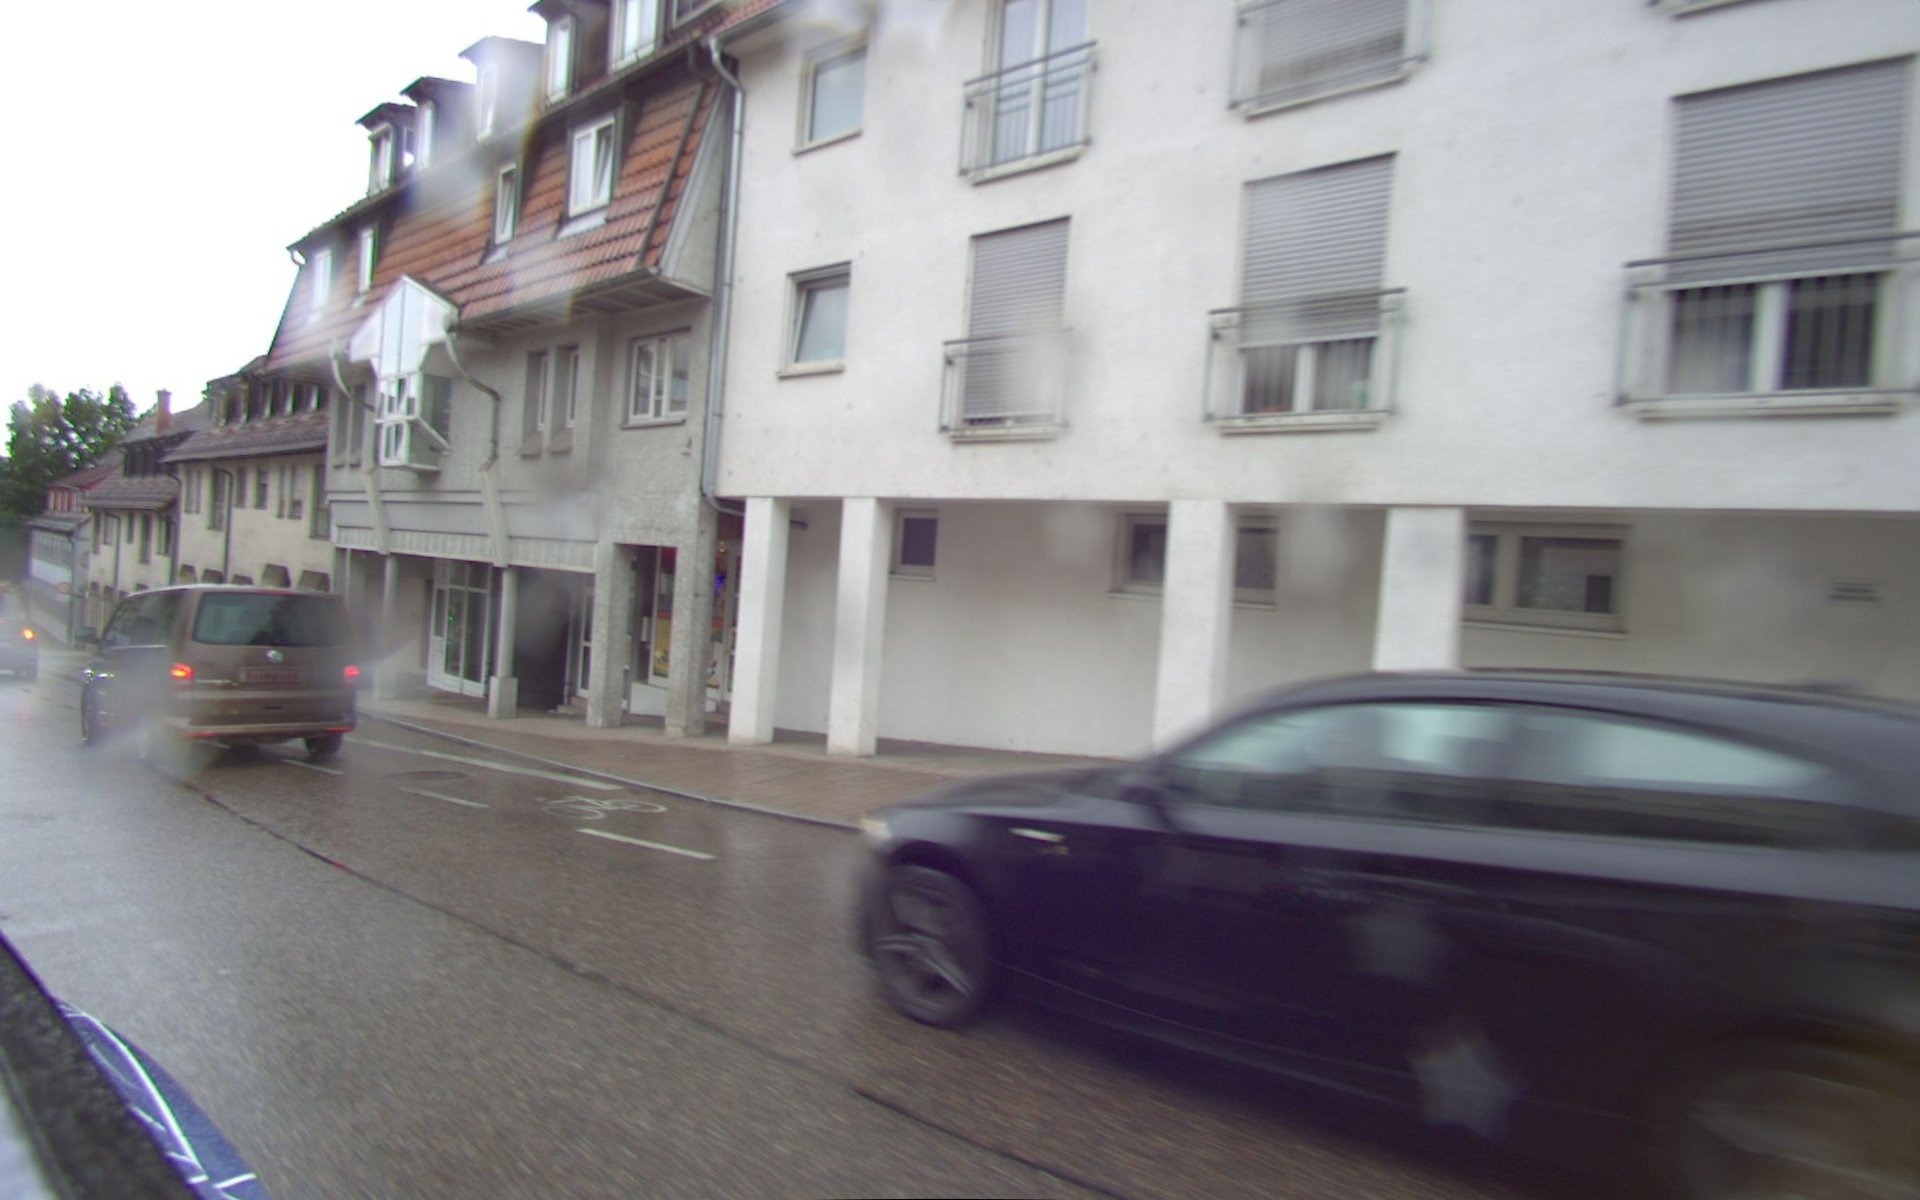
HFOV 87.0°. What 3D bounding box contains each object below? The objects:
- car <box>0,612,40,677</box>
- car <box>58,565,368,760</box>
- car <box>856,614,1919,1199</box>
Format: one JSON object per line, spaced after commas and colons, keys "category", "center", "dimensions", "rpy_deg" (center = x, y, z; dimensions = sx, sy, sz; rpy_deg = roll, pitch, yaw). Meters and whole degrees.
{"category": "car", "center": [-26.911, 1.191, 27.977], "dimensions": [4.460, 1.707, 1.762], "rpy_deg": [-1, -3, 43]}
{"category": "car", "center": [-9.265, 0.672, 12.372], "dimensions": [5.039, 1.922, 1.912], "rpy_deg": [-1, -3, 40]}
{"category": "car", "center": [1.636, 0.795, 3.327], "dimensions": [3.906, 1.455, 1.671], "rpy_deg": [-1, -3, 39]}
